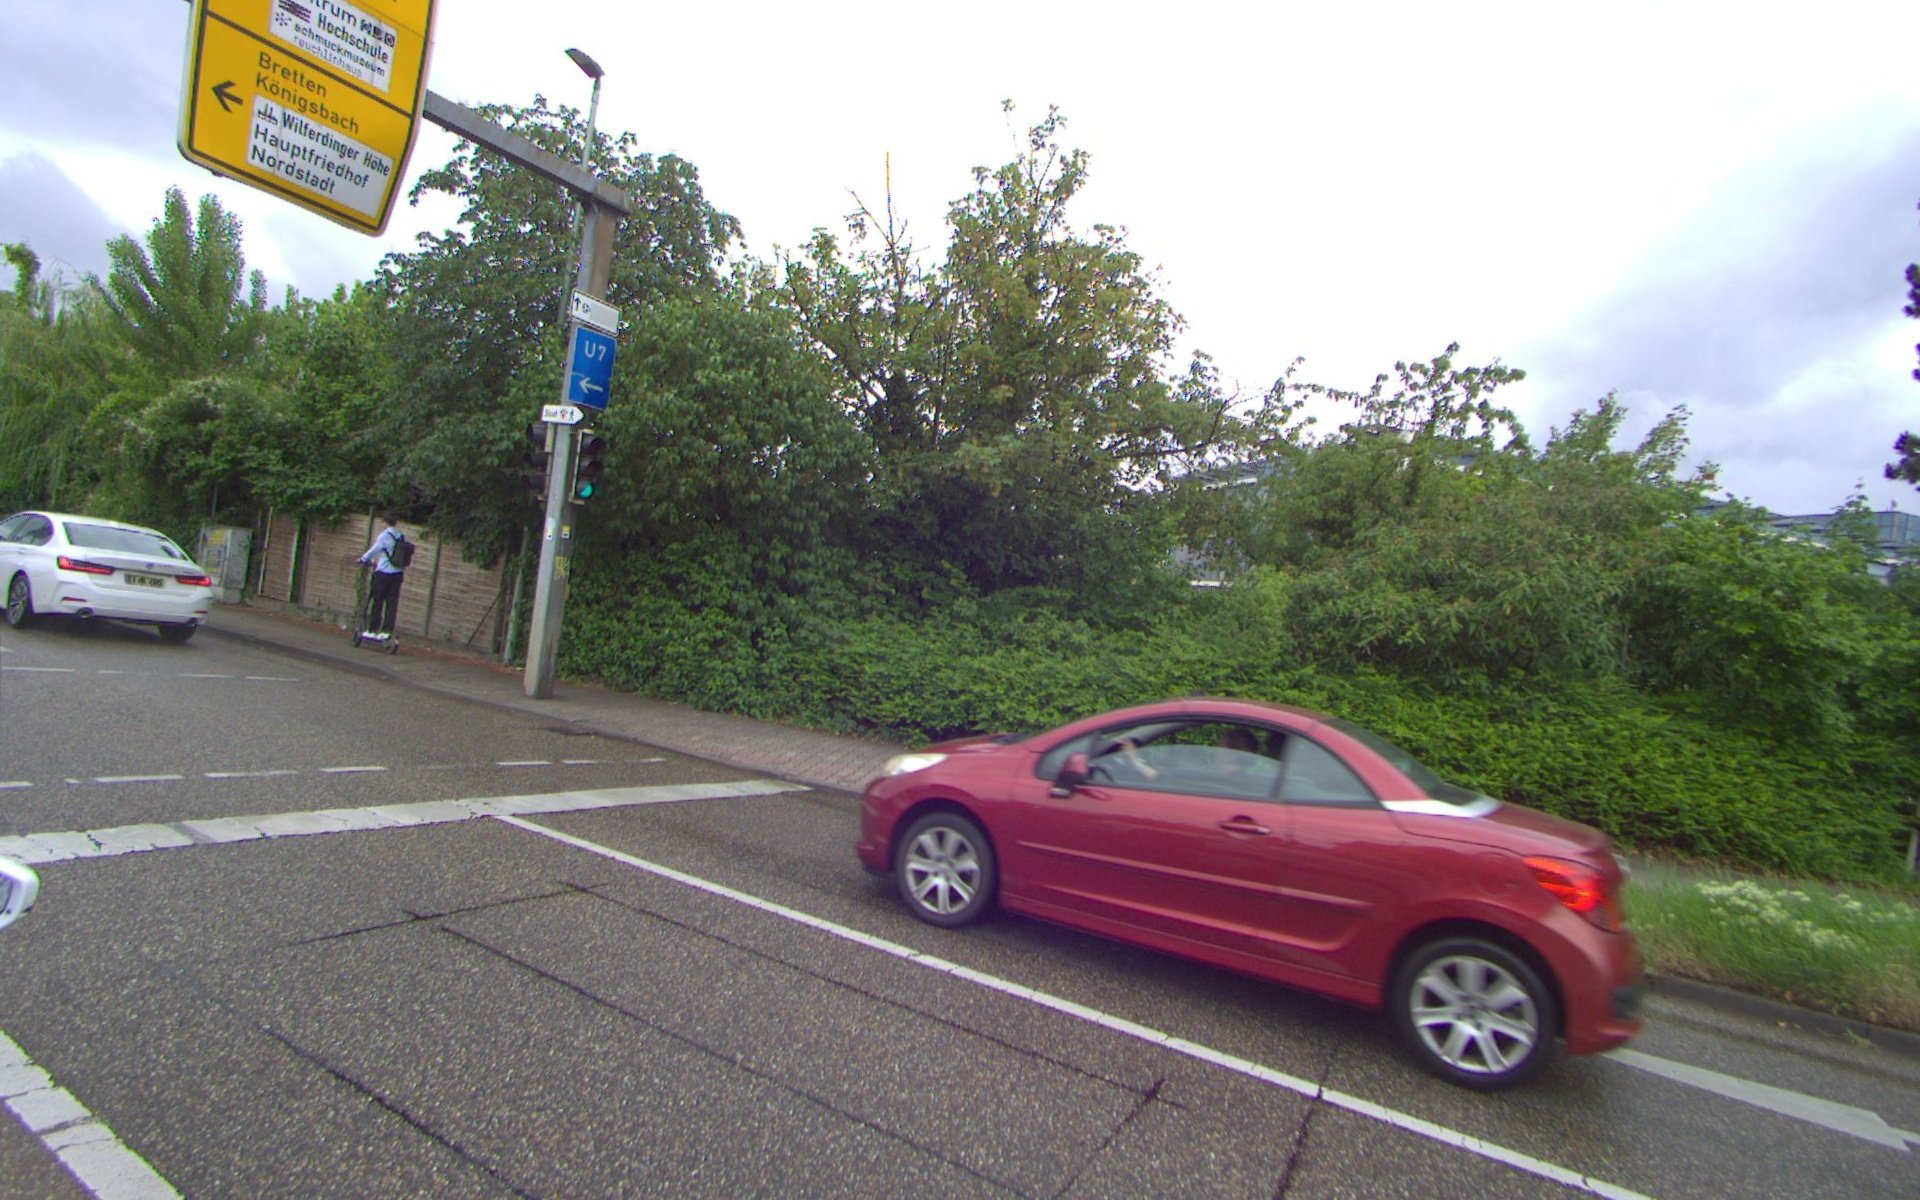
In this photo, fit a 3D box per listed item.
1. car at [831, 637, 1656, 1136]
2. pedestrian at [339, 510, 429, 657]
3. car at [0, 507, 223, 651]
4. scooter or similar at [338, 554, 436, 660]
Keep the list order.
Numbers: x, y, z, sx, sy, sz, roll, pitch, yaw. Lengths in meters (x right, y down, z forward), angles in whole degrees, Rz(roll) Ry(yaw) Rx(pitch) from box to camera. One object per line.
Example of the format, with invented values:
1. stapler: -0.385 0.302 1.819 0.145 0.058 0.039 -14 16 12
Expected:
1. car: 1.330 1.179 5.354 3.627 1.419 1.629 7 -2 30
2. pedestrian: -8.343 -0.229 14.581 0.705 2.026 0.657 7 0 28
3. car: -11.842 -0.371 13.336 4.232 1.443 1.669 7 -2 30
4. scooter or similar: -8.345 0.097 14.637 1.361 1.378 0.462 7 0 28
